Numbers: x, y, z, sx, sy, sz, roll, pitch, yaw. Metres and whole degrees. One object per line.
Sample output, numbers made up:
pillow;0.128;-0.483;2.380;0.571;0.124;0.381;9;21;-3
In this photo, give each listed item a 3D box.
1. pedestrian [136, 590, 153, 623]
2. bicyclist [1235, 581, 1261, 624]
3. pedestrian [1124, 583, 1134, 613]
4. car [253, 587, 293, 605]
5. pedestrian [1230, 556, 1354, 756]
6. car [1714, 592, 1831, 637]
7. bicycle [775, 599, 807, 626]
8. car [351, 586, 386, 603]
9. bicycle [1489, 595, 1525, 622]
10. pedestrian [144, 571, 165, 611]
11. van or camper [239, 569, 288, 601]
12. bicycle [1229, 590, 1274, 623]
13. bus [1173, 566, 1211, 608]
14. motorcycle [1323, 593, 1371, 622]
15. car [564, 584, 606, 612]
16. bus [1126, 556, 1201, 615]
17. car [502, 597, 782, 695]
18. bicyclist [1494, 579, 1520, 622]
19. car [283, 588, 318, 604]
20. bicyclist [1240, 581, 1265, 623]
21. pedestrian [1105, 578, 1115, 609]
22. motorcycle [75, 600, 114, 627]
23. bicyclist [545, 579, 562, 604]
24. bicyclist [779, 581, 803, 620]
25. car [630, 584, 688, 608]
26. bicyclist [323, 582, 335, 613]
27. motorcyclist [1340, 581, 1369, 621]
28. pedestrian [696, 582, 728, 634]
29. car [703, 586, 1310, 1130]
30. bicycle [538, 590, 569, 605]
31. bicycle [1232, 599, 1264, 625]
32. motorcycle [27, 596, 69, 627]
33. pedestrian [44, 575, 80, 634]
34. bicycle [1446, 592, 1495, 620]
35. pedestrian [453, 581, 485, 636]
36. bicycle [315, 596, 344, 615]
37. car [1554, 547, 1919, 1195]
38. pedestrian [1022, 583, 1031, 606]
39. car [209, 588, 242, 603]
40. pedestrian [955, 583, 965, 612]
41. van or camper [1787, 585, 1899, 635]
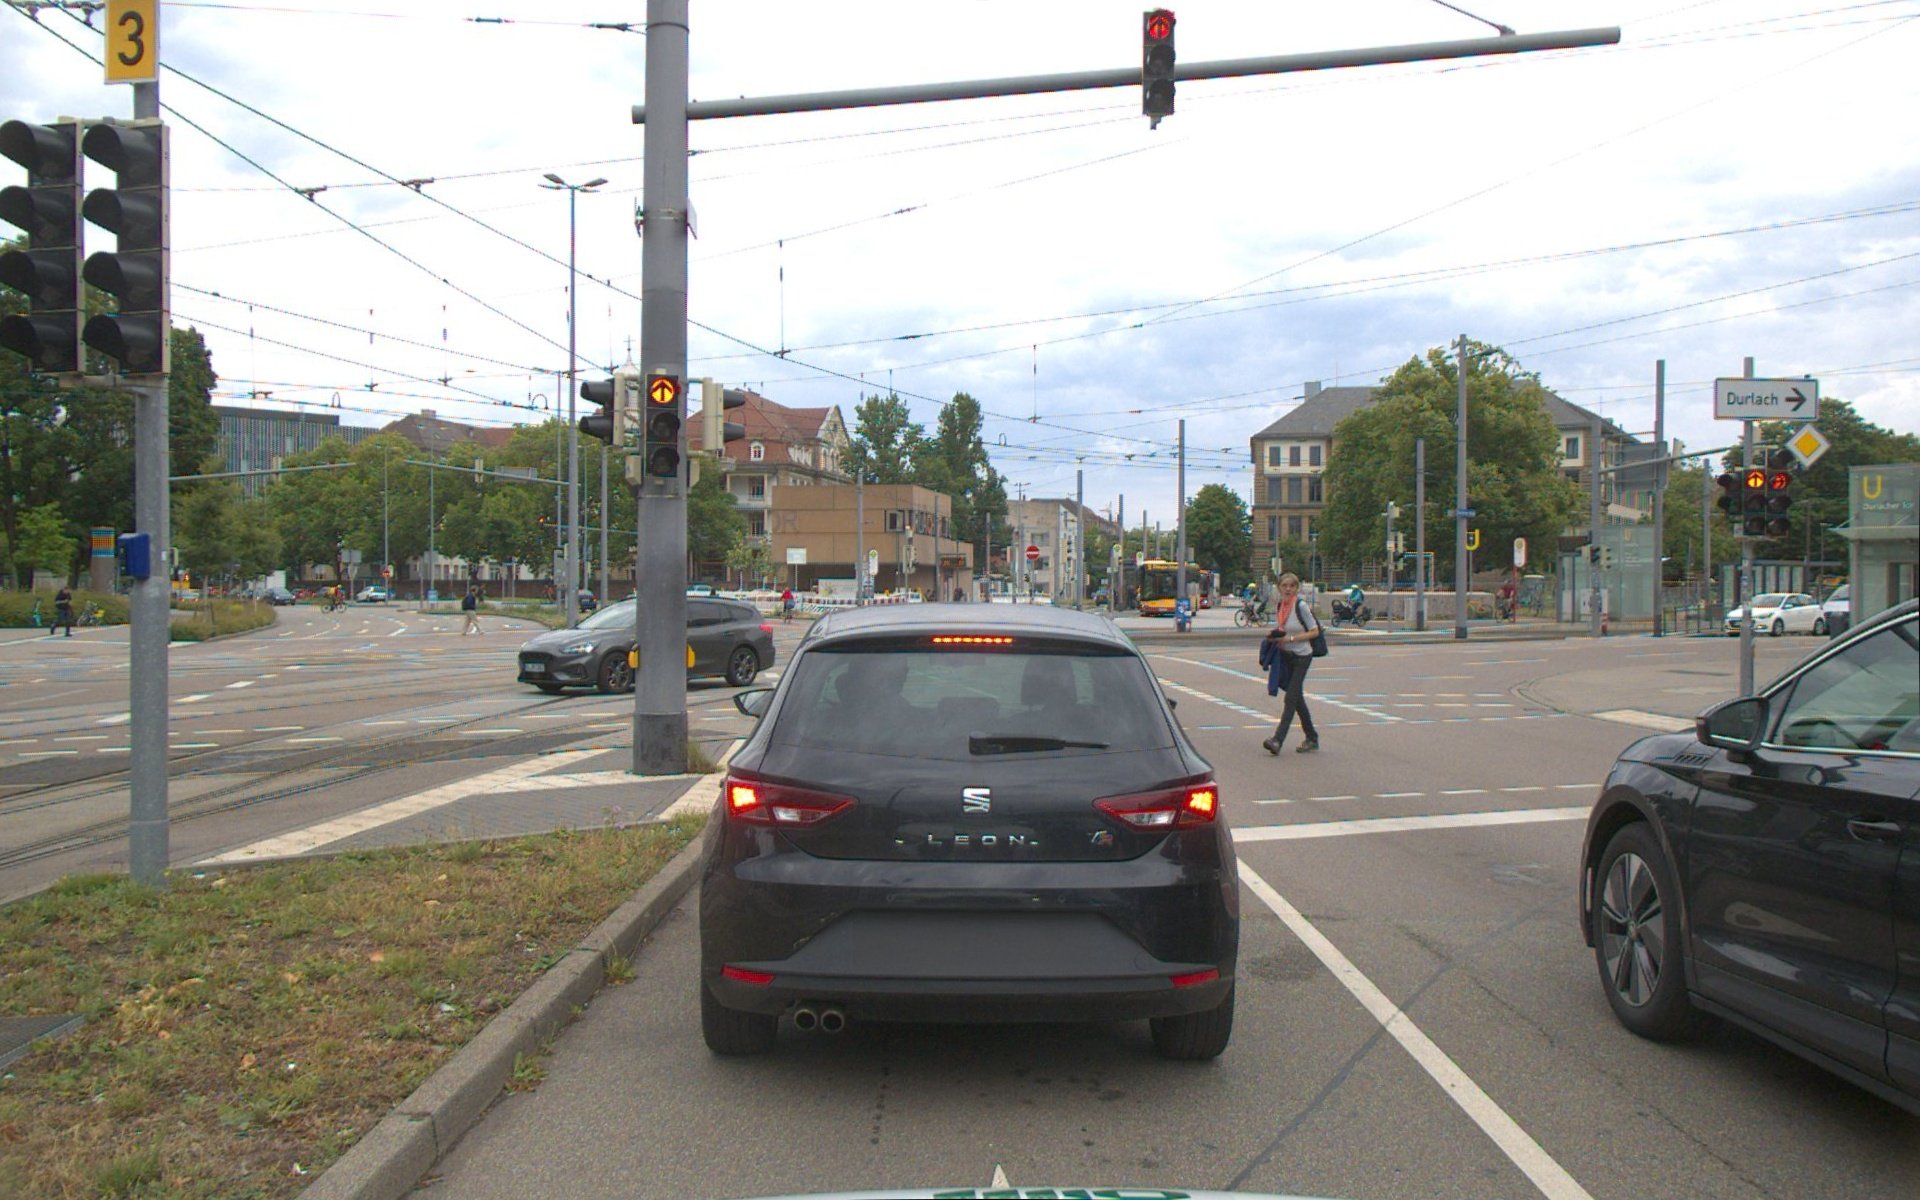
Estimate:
pedestrian;-50.361;0.384;102.131;0.865;2.016;0.791;0;-1;-19
bicyclist;12.612;0.113;72.399;0.854;1.884;1.046;0;0;-6
pedestrian;10.733;-0.134;105.214;0.608;1.951;0.699;0;0;9
car;-59.409;-0.367;142.950;3.930;1.489;1.770;0;0;43
pedestrian;3.352;0.543;16.700;1.096;1.940;0.724;1;-1;-43
car;27.638;0.494;56.229;3.948;1.490;1.756;0;-1;-32
bicycle;-7.704;0.576;75.209;0.879;1.199;2.287;0;0;-22
car;-53.732;-0.476;150.218;1.764;1.489;3.945;0;1;-38
bicycle;24.486;0.378;73.991;0.764;1.205;2.019;0;0;43
pedestrian;-41.042;-0.442;84.269;0.787;2.016;0.870;1;-1;-35
van or camper;-69.027;-1.483;163.777;5.403;3.178;2.382;0;0;41
bicycle;12.015;0.274;68.183;1.700;1.345;0.643;0;0;-13
bus;19.346;-1.057;137.434;2.597;3.340;11.004;0;0;11
motorcycle;16.082;0.304;68.719;2.115;1.159;0.735;0;0;-34
car;-23.803;-0.090;104.919;1.966;1.713;3.973;0;-1;-22
bus;11.691;-0.811;94.115;2.897;3.178;11.548;0;0;14
car;-5.020;0.675;26.606;1.668;1.420;4.368;0;1;41
bicyclist;24.457;0.012;73.962;0.764;1.931;0.990;0;0;43
car;-65.531;-0.393;164.246;3.932;1.489;1.770;1;1;44
bicyclist;12.039;0.089;68.195;0.839;1.702;0.652;0;0;-12
pedestrian;9.486;-0.415;104.728;0.608;1.951;0.699;0;0;9
motorcycle;-36.876;0.570;70.493;0.499;1.130;1.746;0;0;12
bicyclist;-33.454;-0.669;136.038;0.919;2.049;0.977;0;0;28
bicyclist;-7.667;0.008;75.138;0.870;1.762;0.888;0;0;-22
car;-22.398;-0.290;123.204;3.905;1.713;2.000;0;-1;0
bicyclist;-42.422;-0.155;111.143;0.505;2.049;0.586;-1;-2;42
motorcyclist;16.440;0.037;68.949;0.968;1.678;0.741;0;0;-34
pedestrian;-9.521;0.313;63.442;0.687;1.968;1.026;0;0;38
car;-0.008;0.688;6.452;1.671;1.474;3.808;0;0;-5
bicycle;-33.460;-0.243;136.044;0.921;1.199;2.726;0;0;28
bicycle;12.603;0.508;72.450;0.849;1.124;2.299;0;0;-5
motorcycle;-37.797;0.470;68.552;0.503;1.290;1.463;0;0;43
pedestrian;-31.493;0.168;58.012;1.006;2.049;0.841;0;0;-20
bicycle;25.642;0.302;83.104;2.214;1.354;0.707;0;-1;6
pedestrian;-17.812;0.309;59.945;1.015;1.968;0.695;0;0;-26
bicycle;-42.366;0.392;111.186;0.427;1.258;1.817;-1;-1;42
car;3.279;0.685;4.288;1.741;1.625;4.508;0;0;-2
pedestrian;5.810;-0.487;144.681;0.609;1.952;0.710;-1;-1;25
car;-75.134;-0.469;169.154;3.932;1.489;1.770;1;1;44
pedestrian;-0.004;-0.171;109.741;0.608;1.951;0.711;0;0;2
van or camper;32.204;0.381;60.299;4.257;1.772;1.974;0;-1;-36
